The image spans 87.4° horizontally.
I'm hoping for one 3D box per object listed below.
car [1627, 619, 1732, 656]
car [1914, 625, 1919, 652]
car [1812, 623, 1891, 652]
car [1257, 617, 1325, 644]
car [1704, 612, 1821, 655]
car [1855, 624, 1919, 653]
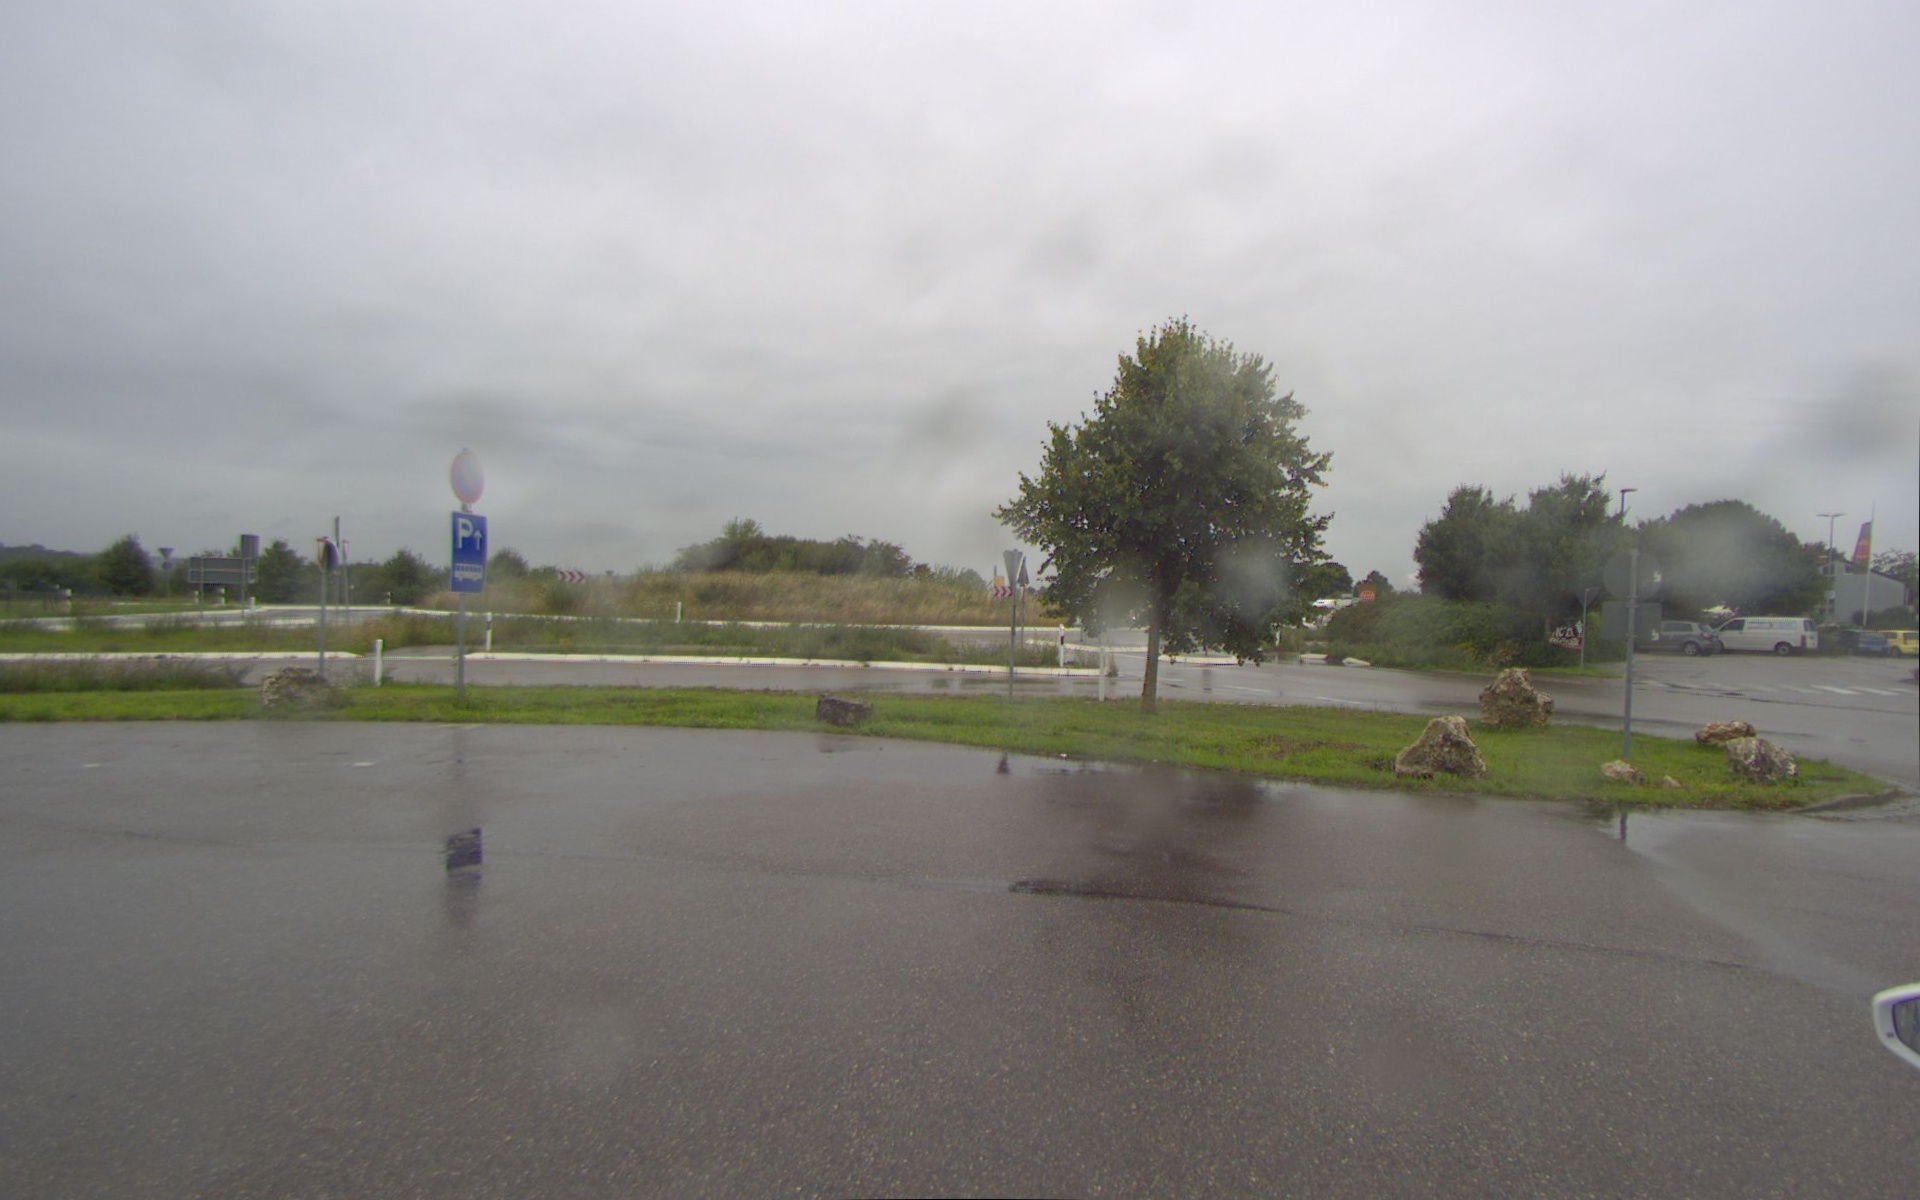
[{"bbox_3d":[33.560,1.714,46.914,1.435,1.571,3.709,1,0,-33],"label":"car"},{"bbox_3d":[54.026,2.133,54.471,1.553,1.477,3.682,1,0,10],"label":"car"},{"bbox_3d":[48.772,2.037,55.022,1.524,1.477,3.682,1,0,10],"label":"car"},{"bbox_3d":[24.026,2.196,73.008,4.280,1.782,1.749,2,-1,1],"label":"car"},{"bbox_3d":[41.775,1.721,52.412,1.627,2.060,4.493,1,0,-33],"label":"car"},{"bbox_3d":[51.501,2.094,55.364,1.553,1.477,3.682,1,0,10],"label":"car"}]
